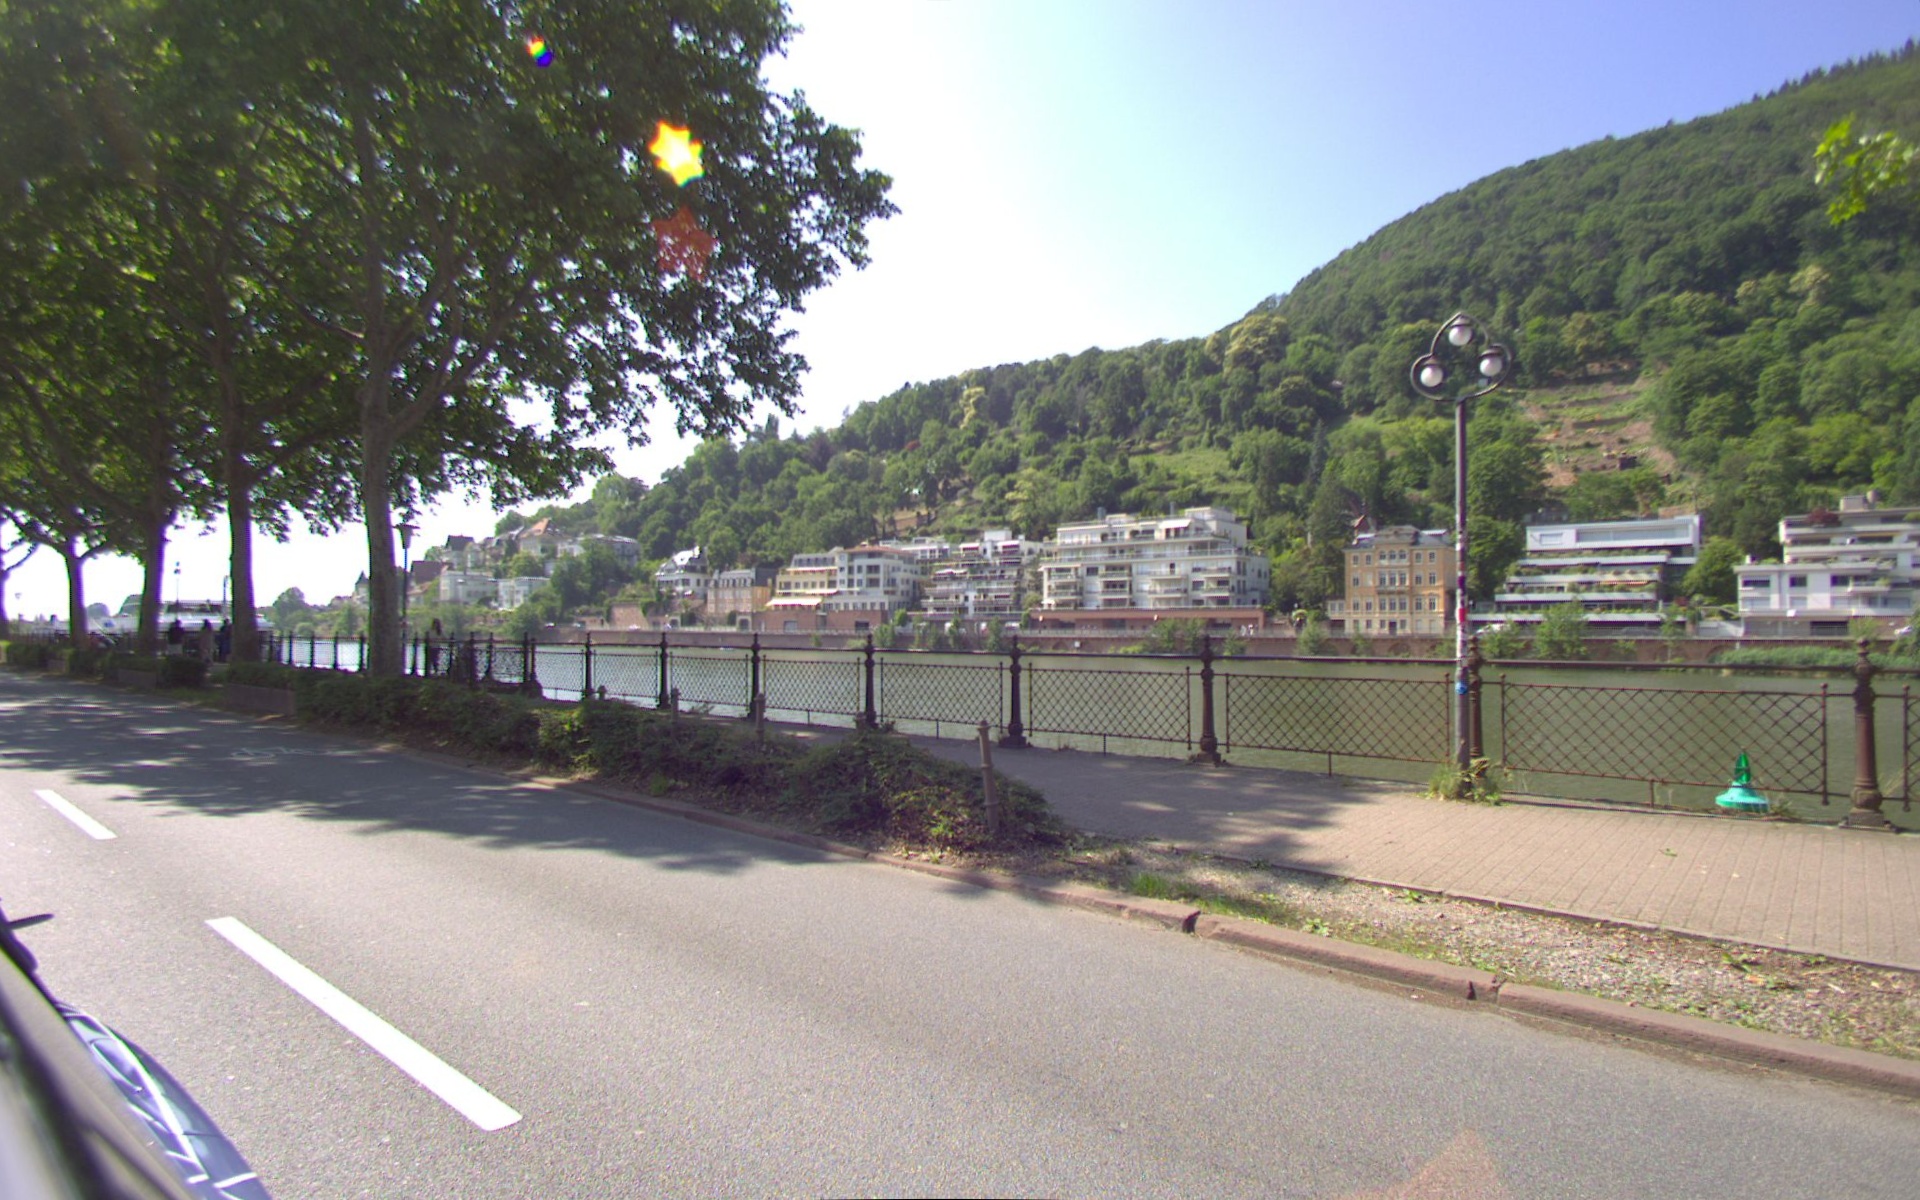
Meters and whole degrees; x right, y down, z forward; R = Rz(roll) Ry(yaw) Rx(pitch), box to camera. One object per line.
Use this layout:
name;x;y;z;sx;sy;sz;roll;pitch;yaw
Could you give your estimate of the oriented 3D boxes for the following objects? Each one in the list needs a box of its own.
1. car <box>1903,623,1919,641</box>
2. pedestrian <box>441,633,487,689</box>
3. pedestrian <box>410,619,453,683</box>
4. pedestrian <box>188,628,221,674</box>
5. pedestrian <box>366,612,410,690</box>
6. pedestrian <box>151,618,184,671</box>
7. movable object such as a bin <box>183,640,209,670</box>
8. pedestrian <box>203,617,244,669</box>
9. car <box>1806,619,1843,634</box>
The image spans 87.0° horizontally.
car;114.373;3.781;119.667;3.998;2.029;1.973;-1;0;41
pedestrian;-12.615;1.538;25.741;0.770;1.398;0.758;-2;-3;40
pedestrian;-15.107;1.454;28.942;0.829;1.771;0.767;-2;-4;40
pedestrian;-28.213;1.902;37.783;0.885;1.647;1.060;0;0;-44
pedestrian;-14.361;1.277;25.404;0.756;1.915;0.771;3;-4;-42
pedestrian;-28.822;1.593;36.811;0.928;1.863;0.796;-1;0;41
movable object such as a bin;-29.036;2.081;38.456;0.783;1.057;0.694;-1;0;44
pedestrian;-29.330;1.703;40.323;1.032;2.029;1.038;-1;0;-19
car;125.884;3.927;147.404;3.998;2.029;1.973;-3;-2;41
